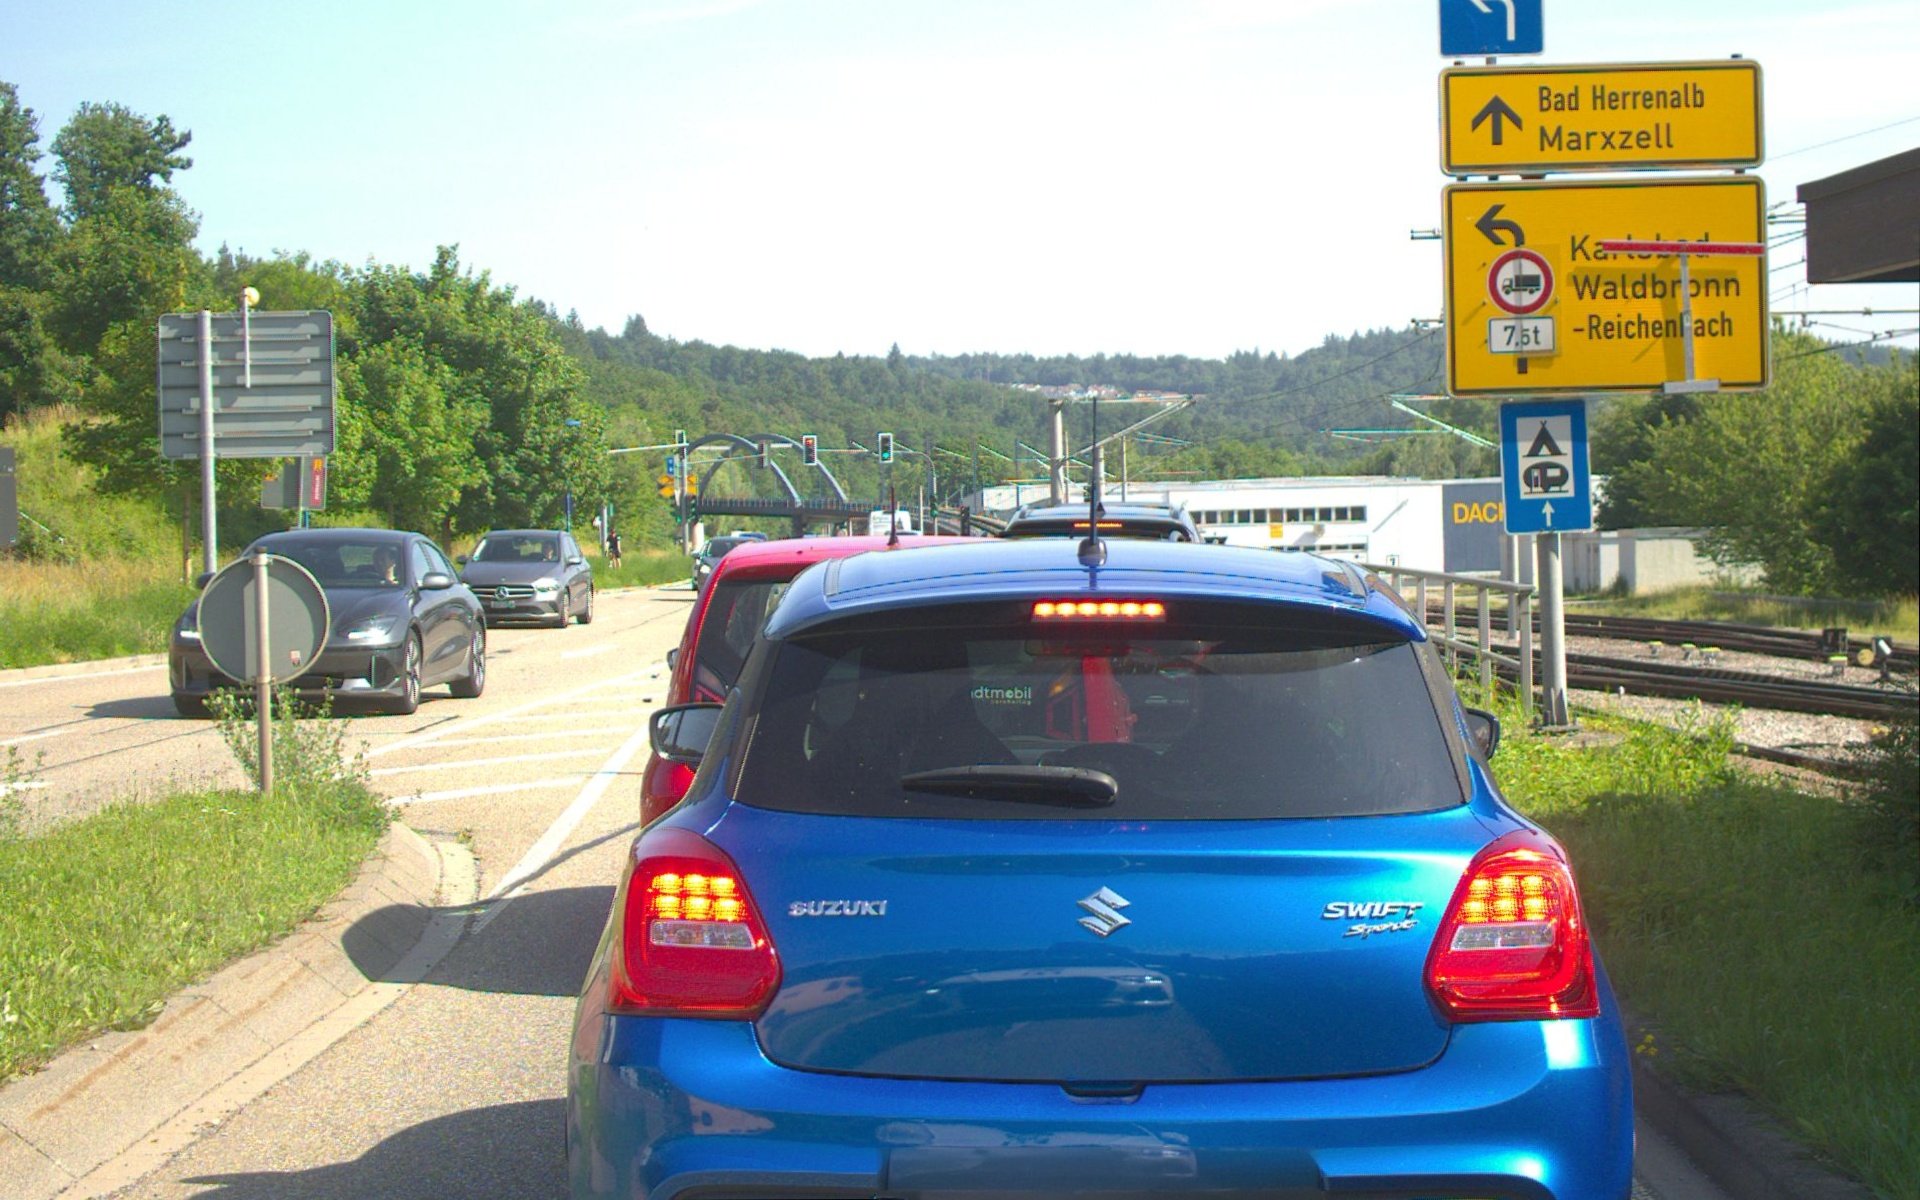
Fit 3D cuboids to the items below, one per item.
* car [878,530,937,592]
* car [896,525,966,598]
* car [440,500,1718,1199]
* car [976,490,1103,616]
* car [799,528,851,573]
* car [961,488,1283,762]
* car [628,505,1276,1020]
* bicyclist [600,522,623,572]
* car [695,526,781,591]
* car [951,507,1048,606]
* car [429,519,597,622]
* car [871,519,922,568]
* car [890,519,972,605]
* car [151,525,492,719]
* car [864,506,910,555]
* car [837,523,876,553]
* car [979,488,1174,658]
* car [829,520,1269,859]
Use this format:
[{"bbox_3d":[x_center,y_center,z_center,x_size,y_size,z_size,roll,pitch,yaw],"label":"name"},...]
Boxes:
[{"bbox_3d":[-1.861,-1.393,121.766,1.993,2.006,4.001,2,2,-1],"label":"car"},{"bbox_3d":[-0.875,-1.169,102.748,1.993,2.006,4.001,2,2,-1],"label":"car"},{"bbox_3d":[0.129,0.584,7.043,1.868,1.543,4.000,0,1,-1],"label":"car"},{"bbox_3d":[1.335,-0.847,59.222,1.993,2.006,4.001,2,2,-1],"label":"car"},{"bbox_3d":[-5.483,-2.012,140.035,1.993,1.777,4.000,1,1,-1],"label":"car"},{"bbox_3d":[1.063,0.101,24.062,1.993,1.681,4.497,2,1,1],"label":"car"},{"bbox_3d":[0.006,0.473,12.712,1.993,1.566,4.000,1,1,1],"label":"car"},{"bbox_3d":[-10.760,-1.633,106.178,0.629,1.502,0.506,2,2,-3],"label":"bicyclist"},{"bbox_3d":[-5.087,-0.965,79.113,1.672,1.436,3.840,1,1,1],"label":"car"},{"bbox_3d":[0.842,-0.993,75.854,1.993,2.006,4.001,2,2,-1],"label":"car"},{"bbox_3d":[-7.088,-0.507,54.910,1.993,1.558,4.509,0,1,1],"label":"car"},{"bbox_3d":[-2.586,-2.321,140.369,1.993,1.810,4.001,2,2,-1],"label":"car"},{"bbox_3d":[-0.738,-0.995,87.683,1.993,2.006,4.001,2,2,-1],"label":"car"},{"bbox_3d":[-5.187,0.118,28.547,1.791,1.465,4.716,0,1,2],"label":"car"},{"bbox_3d":[-3.319,-3.152,156.303,1.993,2.137,4.720,1,1,-1],"label":"car"},{"bbox_3d":[-5.485,-3.309,182.688,1.993,1.549,4.215,1,1,-1],"label":"car"},{"bbox_3d":[1.256,-0.332,38.013,1.993,1.730,4.000,2,1,1],"label":"car"},{"bbox_3d":[0.446,0.357,17.980,1.993,1.526,4.602,-1,1,1],"label":"car"}]
